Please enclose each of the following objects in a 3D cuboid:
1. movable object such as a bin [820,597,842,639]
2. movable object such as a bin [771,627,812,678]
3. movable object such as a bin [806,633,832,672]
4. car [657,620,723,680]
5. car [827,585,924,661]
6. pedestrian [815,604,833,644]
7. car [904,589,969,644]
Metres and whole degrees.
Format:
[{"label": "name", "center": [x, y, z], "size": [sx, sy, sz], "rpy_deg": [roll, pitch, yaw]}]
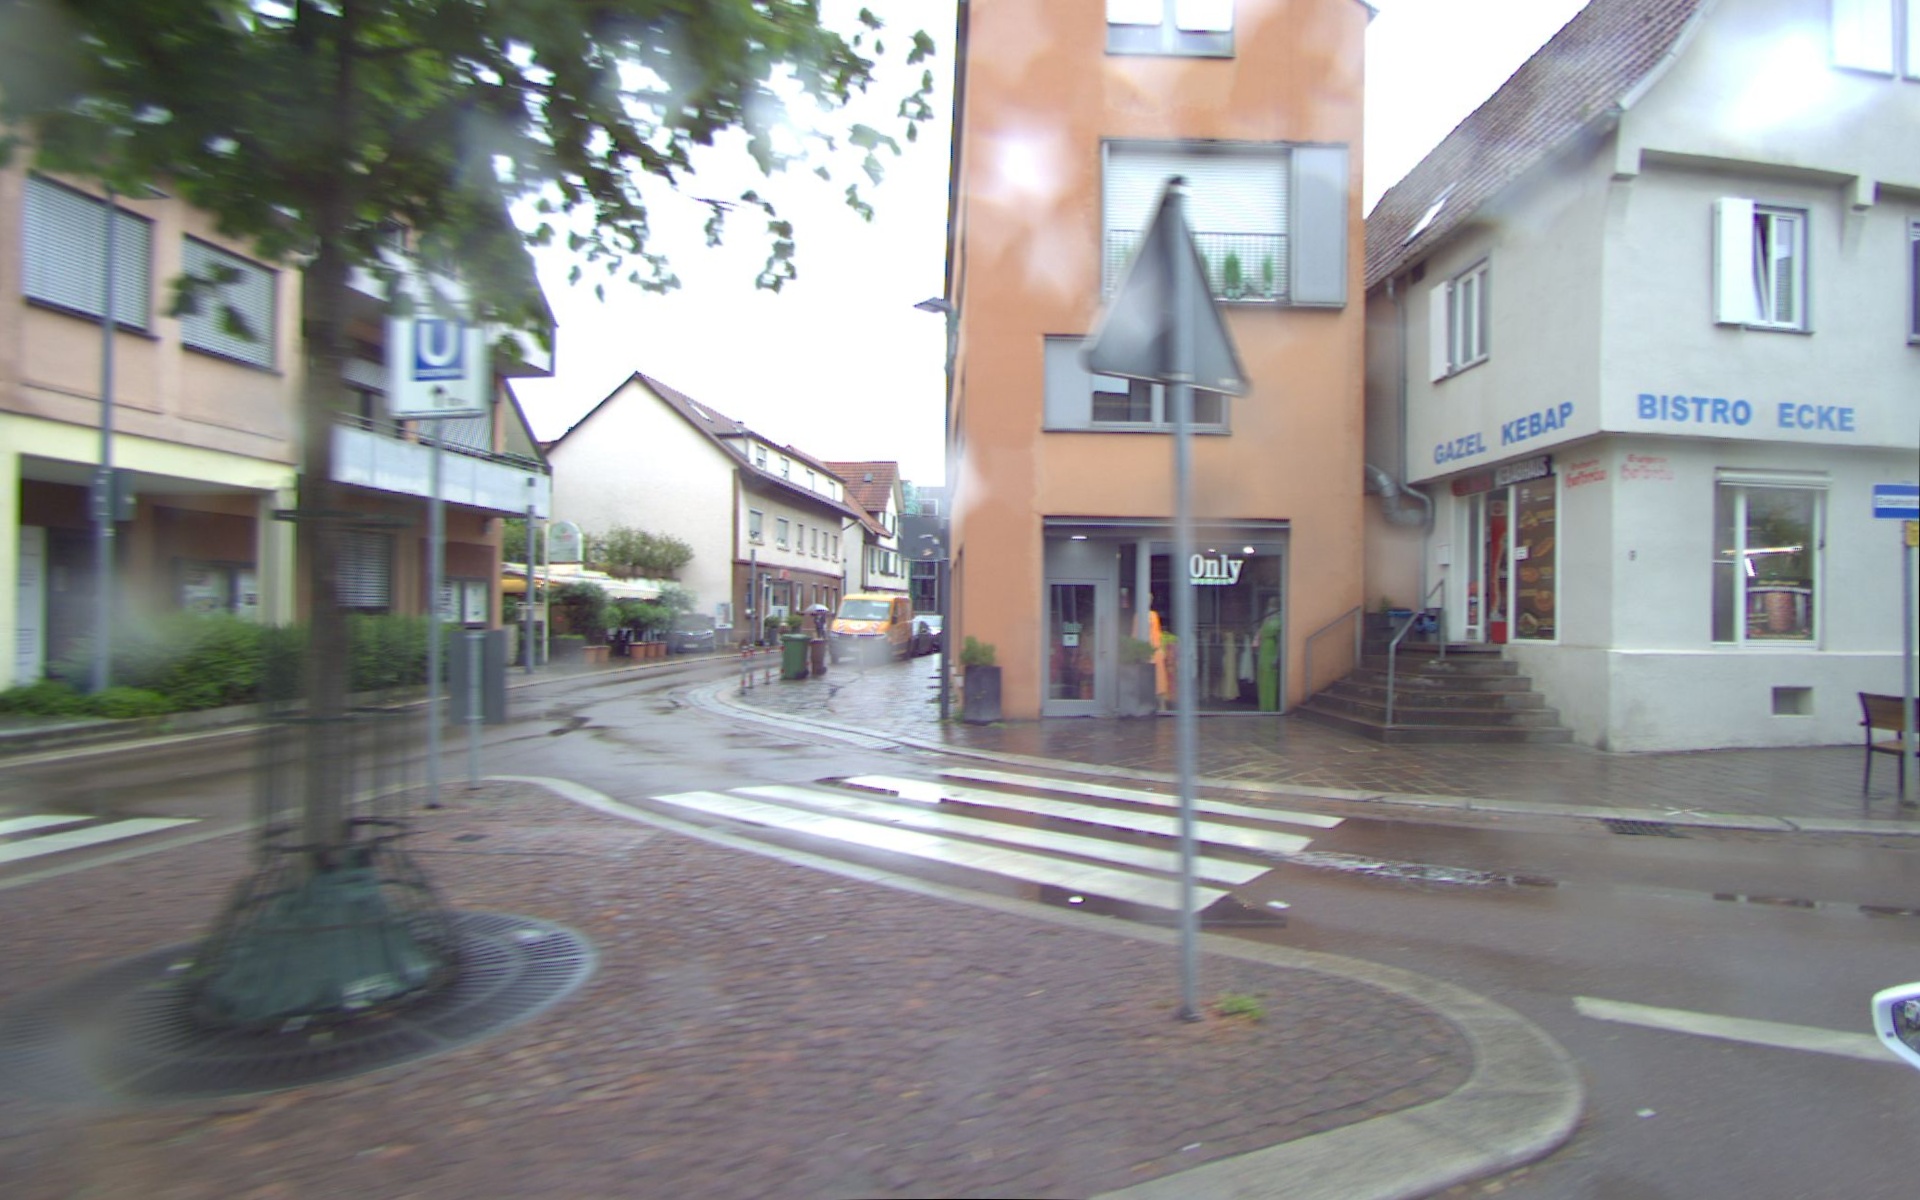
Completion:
[{"label": "movable object such as a bin", "center": [-6.459, 0.908, 50.387], "size": [0.994, 2.040, 0.827], "rpy_deg": [2, 0, -3]}, {"label": "movable object such as a bin", "center": [-4.110, 1.279, 24.556], "size": [0.932, 1.174, 0.773], "rpy_deg": [2, 0, -10]}, {"label": "movable object such as a bin", "center": [-3.770, 1.397, 26.799], "size": [0.641, 1.013, 0.586], "rpy_deg": [2, 0, -9]}, {"label": "car", "center": [-10.222, 1.838, 37.832], "size": [1.971, 2.040, 3.839], "rpy_deg": [2, -1, -21]}, {"label": "car", "center": [-2.797, 0.782, 34.794], "size": [2.166, 2.329, 5.964], "rpy_deg": [2, -1, 6]}, {"label": "pedestrian", "center": [-6.309, 1.111, 46.559], "size": [0.740, 1.817, 0.802], "rpy_deg": [2, 0, -5]}, {"label": "car", "center": [-1.003, 0.761, 46.479], "size": [2.166, 2.329, 5.964], "rpy_deg": [2, -1, 6]}]
